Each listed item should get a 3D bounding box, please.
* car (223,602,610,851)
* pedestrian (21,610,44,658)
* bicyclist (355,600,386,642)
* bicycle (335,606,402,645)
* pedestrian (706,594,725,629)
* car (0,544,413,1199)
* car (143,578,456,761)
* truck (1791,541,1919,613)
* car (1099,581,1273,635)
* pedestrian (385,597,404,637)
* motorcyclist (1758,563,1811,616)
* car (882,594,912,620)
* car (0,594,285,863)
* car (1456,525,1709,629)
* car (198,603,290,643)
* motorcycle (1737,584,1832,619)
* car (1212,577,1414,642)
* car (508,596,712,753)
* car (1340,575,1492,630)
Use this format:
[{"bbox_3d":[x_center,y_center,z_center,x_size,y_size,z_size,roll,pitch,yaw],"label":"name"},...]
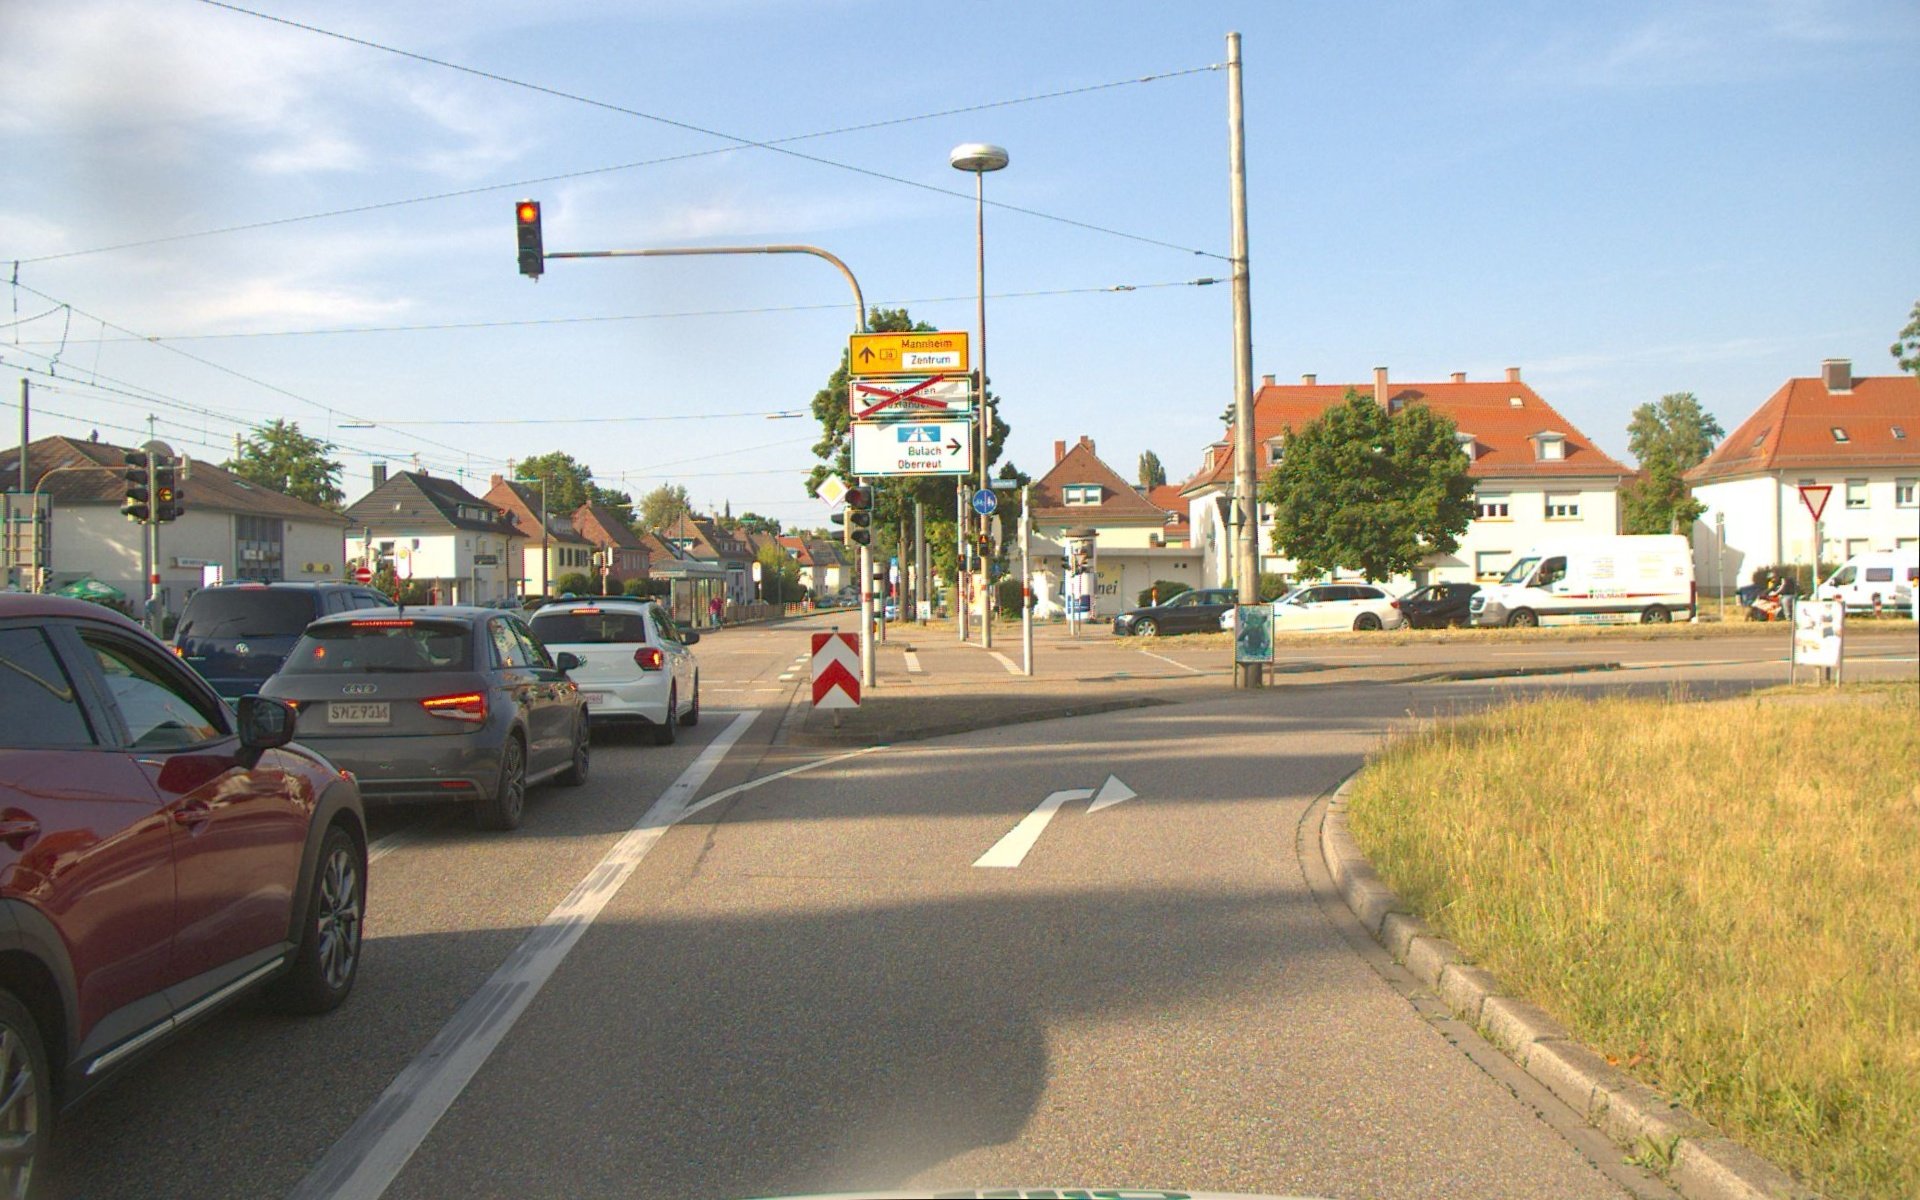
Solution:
[{"bbox_3d":[-3.664,0.760,11.839,1.609,1.421,3.825,-2,0,-2],"label":"car"},{"bbox_3d":[-32.303,1.181,57.604,0.501,1.627,0.539,-1,0,-2],"label":"pedestrian"},{"bbox_3d":[-20.617,0.732,57.862,0.868,1.456,1.133,0,-1,-11],"label":"bicyclist"},{"bbox_3d":[-20.672,0.889,57.857,2.037,1.371,1.105,0,-1,-12],"label":"bicycle"},{"bbox_3d":[-10.988,0.522,74.286,0.737,1.525,0.827,0,-1,0],"label":"pedestrian"},{"bbox_3d":[-2.903,0.703,4.602,1.673,1.579,3.974,-2,0,-4],"label":"car"},{"bbox_3d":[-6.925,0.638,17.904,1.476,1.680,4.743,-2,0,-1],"label":"car"},{"bbox_3d":[34.443,-0.858,61.223,2.253,2.568,6.274,-1,1,-37],"label":"truck"},{"bbox_3d":[6.497,0.224,47.834,4.726,1.436,1.715,-1,0,-2],"label":"car"},{"bbox_3d":[-20.807,0.623,60.871,0.567,1.456,0.546,0,-1,-8],"label":"pedestrian"},{"bbox_3d":[22.005,-0.280,44.166,1.044,1.375,0.679,-1,0,-3],"label":"motorcyclist"},{"bbox_3d":[-3.494,0.394,91.934,1.641,1.422,3.998,0,-1,-2],"label":"car"},{"bbox_3d":[-6.407,0.741,11.491,1.665,1.534,4.552,-1,0,-2],"label":"car"},{"bbox_3d":[16.789,-0.605,44.781,6.083,2.629,1.999,-1,0,-2],"label":"car"},{"bbox_3d":[-29.545,0.943,68.419,1.954,1.534,4.605,-1,0,-3],"label":"car"},{"bbox_3d":[22.015,0.026,44.171,2.226,0.882,0.690,-1,0,-4],"label":"motorcycle"},{"bbox_3d":[9.422,0.245,44.362,4.992,1.590,1.839,-1,0,-2],"label":"car"},{"bbox_3d":[-3.682,0.710,18.006,1.624,1.468,4.010,-2,0,-4],"label":"car"},{"bbox_3d":[13.207,0.079,48.064,3.906,1.478,1.715,-1,0,-2],"label":"car"}]
